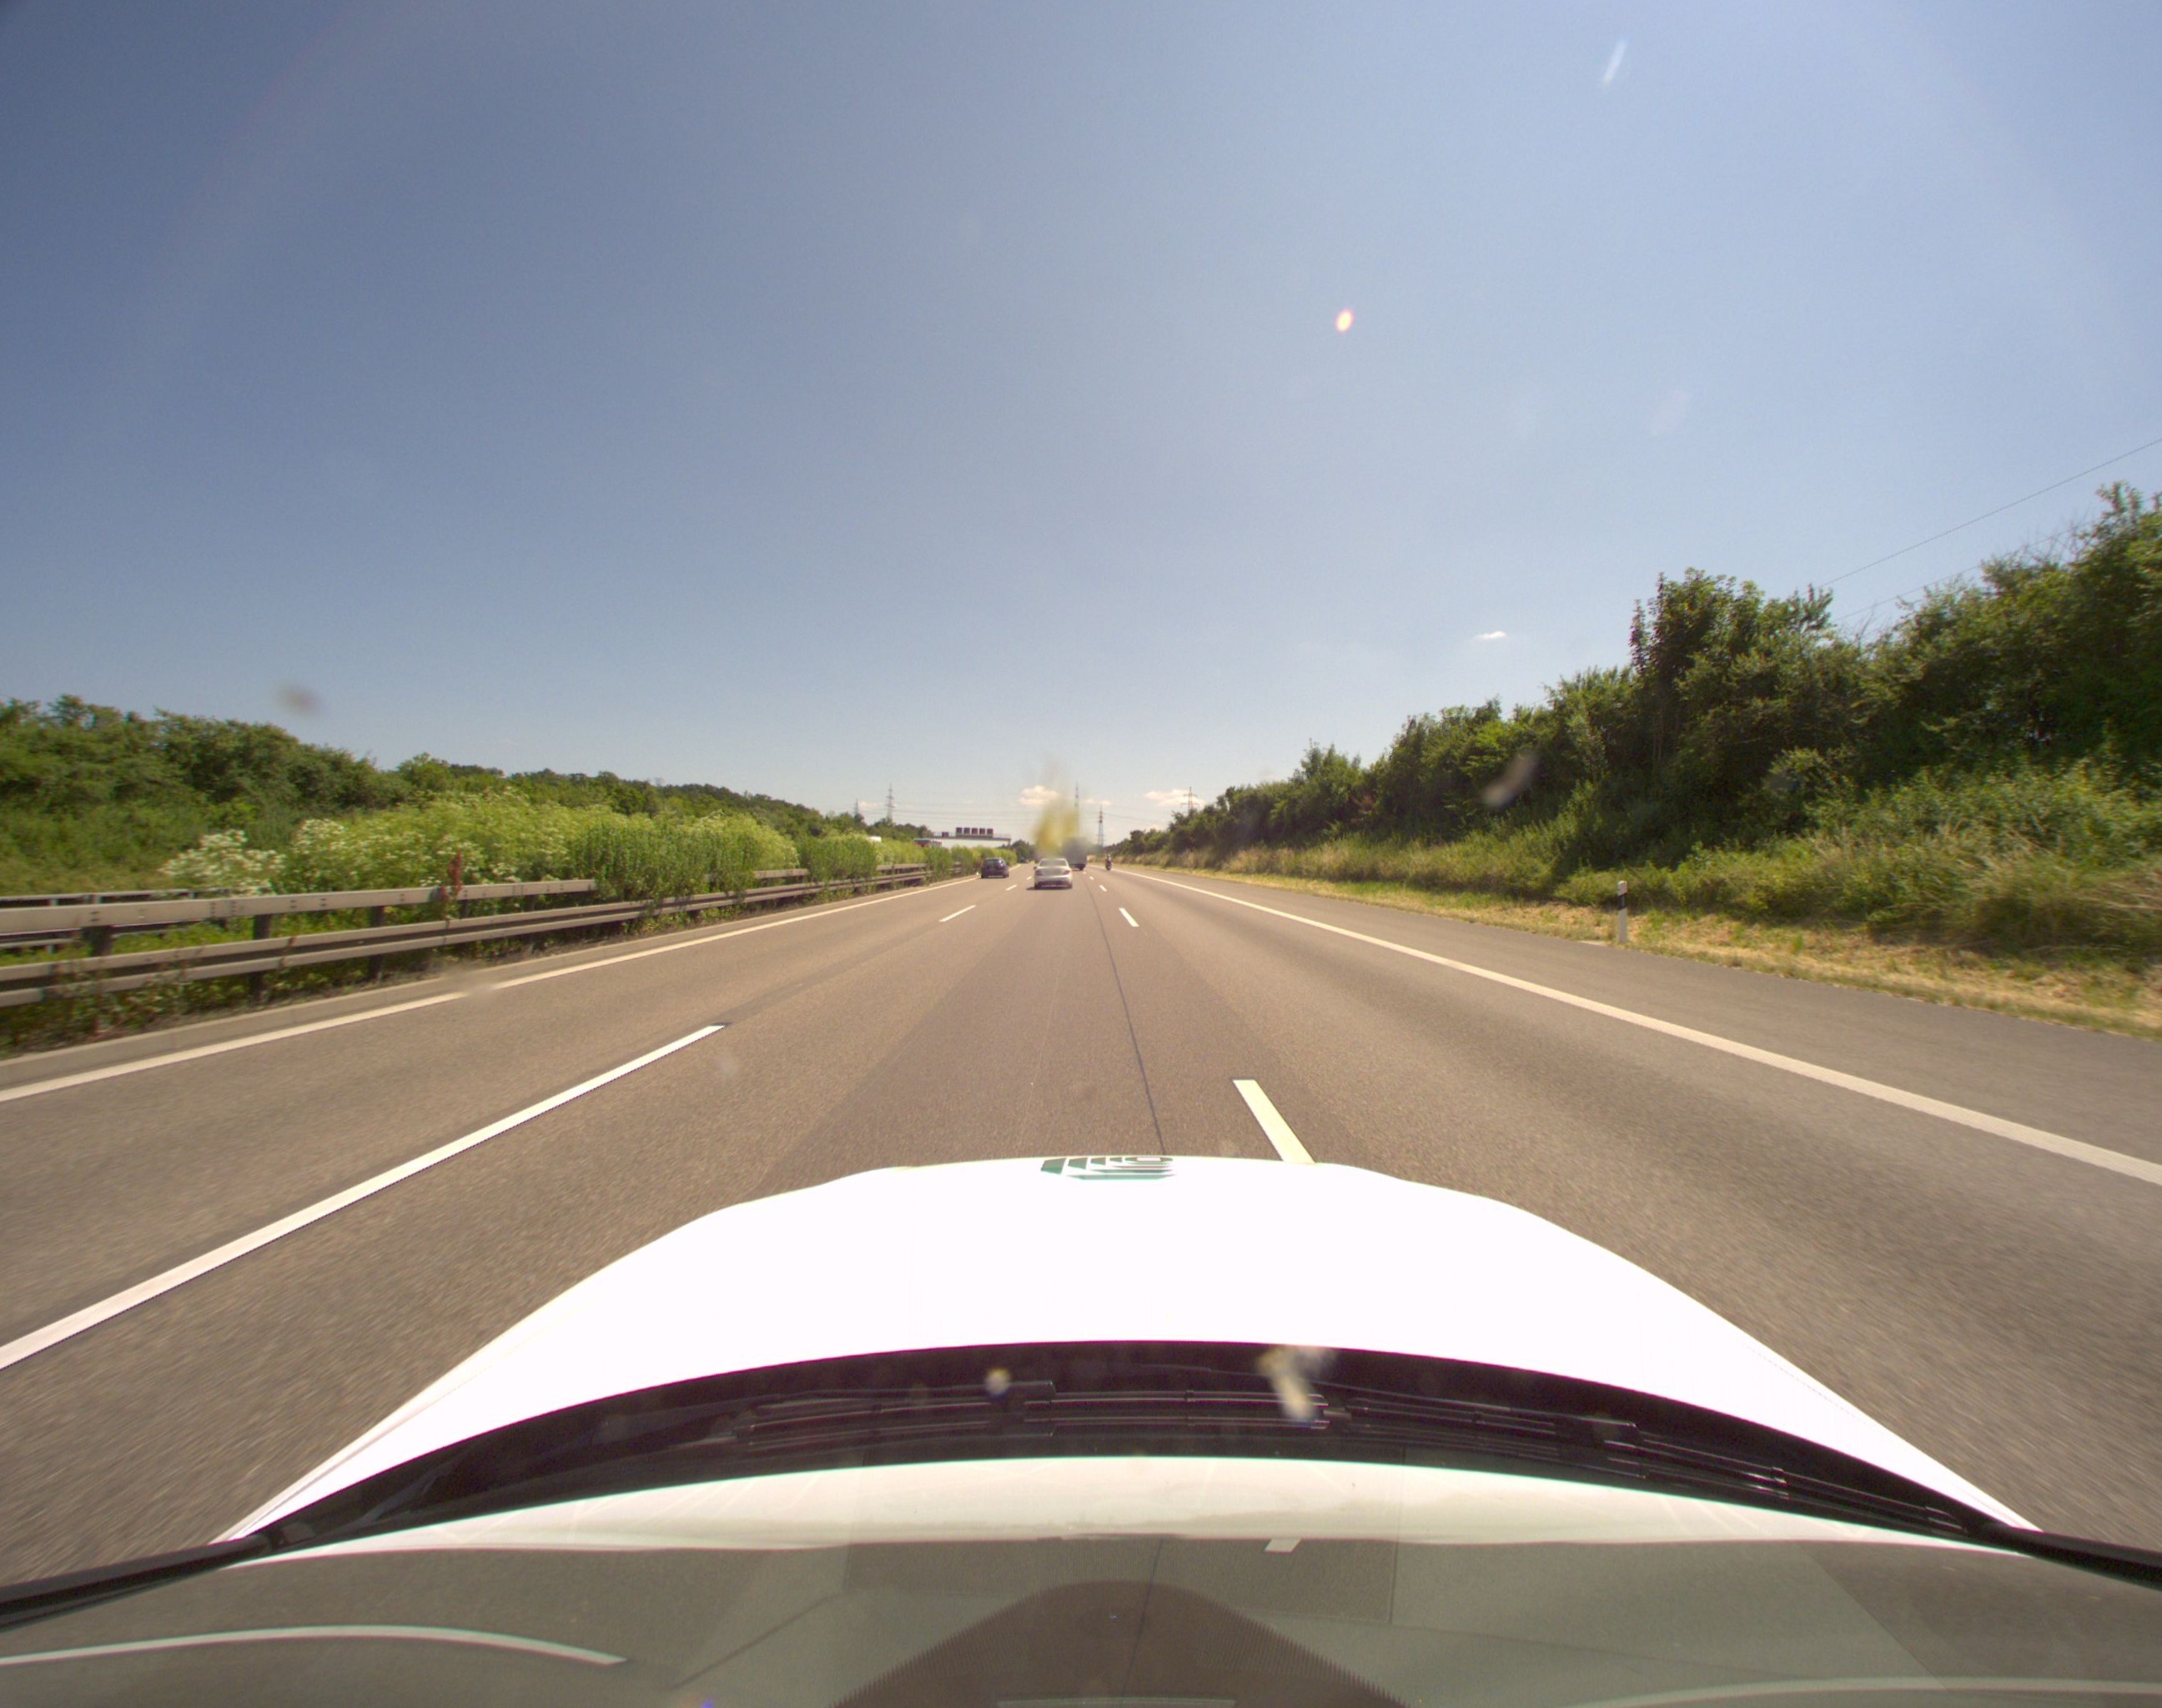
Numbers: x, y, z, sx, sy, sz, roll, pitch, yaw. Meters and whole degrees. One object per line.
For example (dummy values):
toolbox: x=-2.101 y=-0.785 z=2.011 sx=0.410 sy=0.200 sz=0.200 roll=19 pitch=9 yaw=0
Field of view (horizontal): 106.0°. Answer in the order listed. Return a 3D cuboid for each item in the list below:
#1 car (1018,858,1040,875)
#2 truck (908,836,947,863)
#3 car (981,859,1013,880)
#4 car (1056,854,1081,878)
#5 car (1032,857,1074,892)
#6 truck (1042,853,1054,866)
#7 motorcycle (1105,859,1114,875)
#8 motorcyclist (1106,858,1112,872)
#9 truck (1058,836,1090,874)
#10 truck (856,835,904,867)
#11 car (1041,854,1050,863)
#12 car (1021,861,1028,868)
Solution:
car: x=-4.866 y=1.198 z=76.868 sx=1.833 sy=1.541 sz=3.913 roll=0 pitch=0 yaw=-1
truck: x=-22.912 y=-0.619 z=122.408 sx=3.223 sy=3.611 sz=18.508 roll=2 pitch=0 yaw=-3
car: x=-6.074 y=1.114 z=59.014 sx=1.749 sy=1.429 sz=4.002 roll=-1 pitch=0 yaw=2
car: x=-1.092 y=0.996 z=69.951 sx=1.989 sy=2.013 sz=3.995 roll=-1 pitch=0 yaw=-4
car: x=-1.277 y=0.910 z=38.563 sx=1.814 sy=1.541 sz=3.913 roll=-1 pitch=0 yaw=0
truck: x=-10.103 y=1.597 z=251.313 sx=3.477 sy=3.913 sz=7.280 roll=0 pitch=-1 yaw=-4
motorcycle: x=3.030 y=1.391 z=86.355 sx=0.808 sy=1.607 sz=1.779 roll=0 pitch=-1 yaw=-5
motorcyclist: x=2.927 y=1.176 z=86.228 sx=0.571 sy=1.479 sz=0.699 roll=-1 pitch=0 yaw=-5
truck: x=-0.841 y=0.166 z=88.803 sx=3.213 sy=3.924 sz=9.053 roll=0 pitch=-1 yaw=-2
truck: x=-23.181 y=-0.340 z=94.963 sx=2.452 sy=3.456 sz=14.674 roll=-1 pitch=0 yaw=-2
car: x=-7.810 y=1.059 z=181.309 sx=1.896 sy=1.926 sz=3.998 roll=-1 pitch=0 yaw=-1
car: x=-16.098 y=3.065 z=233.000 sx=1.989 sy=1.860 sz=3.996 roll=-1 pitch=0 yaw=-3
